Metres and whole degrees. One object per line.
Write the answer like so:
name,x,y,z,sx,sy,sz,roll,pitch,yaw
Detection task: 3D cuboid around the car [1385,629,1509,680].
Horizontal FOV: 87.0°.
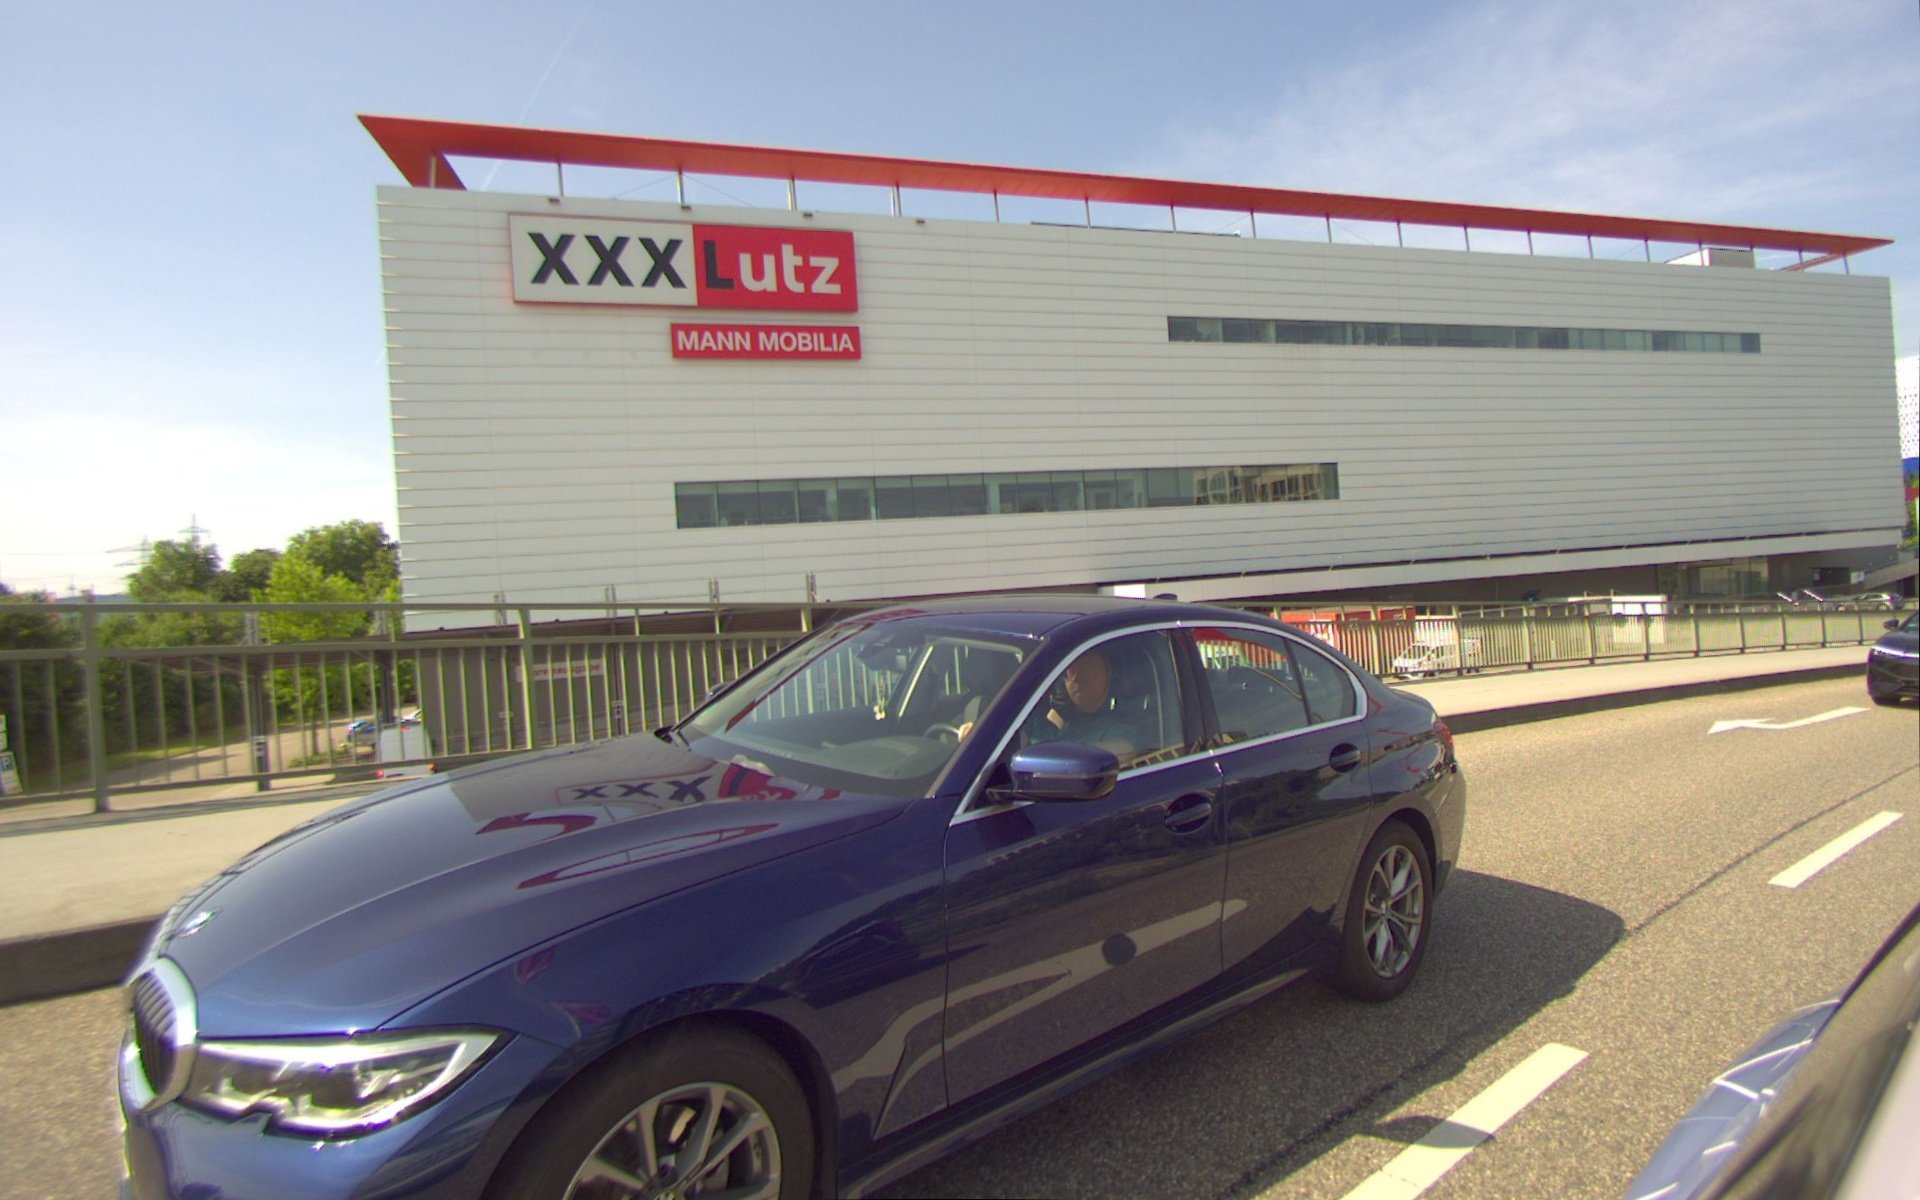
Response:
car,25.112,2.771,52.210,5.888,2.029,2.137,-4,2,-19

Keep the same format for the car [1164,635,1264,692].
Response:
car,13.572,3.316,54.551,2.088,2.653,6.023,-4,0,-19

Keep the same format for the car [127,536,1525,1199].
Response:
car,0.070,0.649,3.472,4.443,1.502,1.790,-5,1,-41

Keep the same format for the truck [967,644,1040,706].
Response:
truck,2.309,4.076,56.239,2.088,2.964,6.023,-4,0,-16

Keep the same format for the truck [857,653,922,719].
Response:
truck,-3.854,4.502,54.061,2.088,2.964,6.023,-4,0,-16

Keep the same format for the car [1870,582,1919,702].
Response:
car,14.484,0.556,14.057,4.066,1.547,1.863,-1,3,-35

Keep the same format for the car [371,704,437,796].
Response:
car,-23.210,6.092,42.098,2.091,2.964,6.015,-4,0,-31

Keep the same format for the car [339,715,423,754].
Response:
car,-33.219,7.693,58.179,3.746,1.658,1.811,-4,1,-13

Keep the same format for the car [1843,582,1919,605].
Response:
car,66.353,-0.465,72.787,1.773,1.393,3.875,-3,-1,-20

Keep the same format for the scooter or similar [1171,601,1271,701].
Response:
scooter or similar,3.231,0.600,12.460,0.511,1.157,1.458,-3,-2,44
